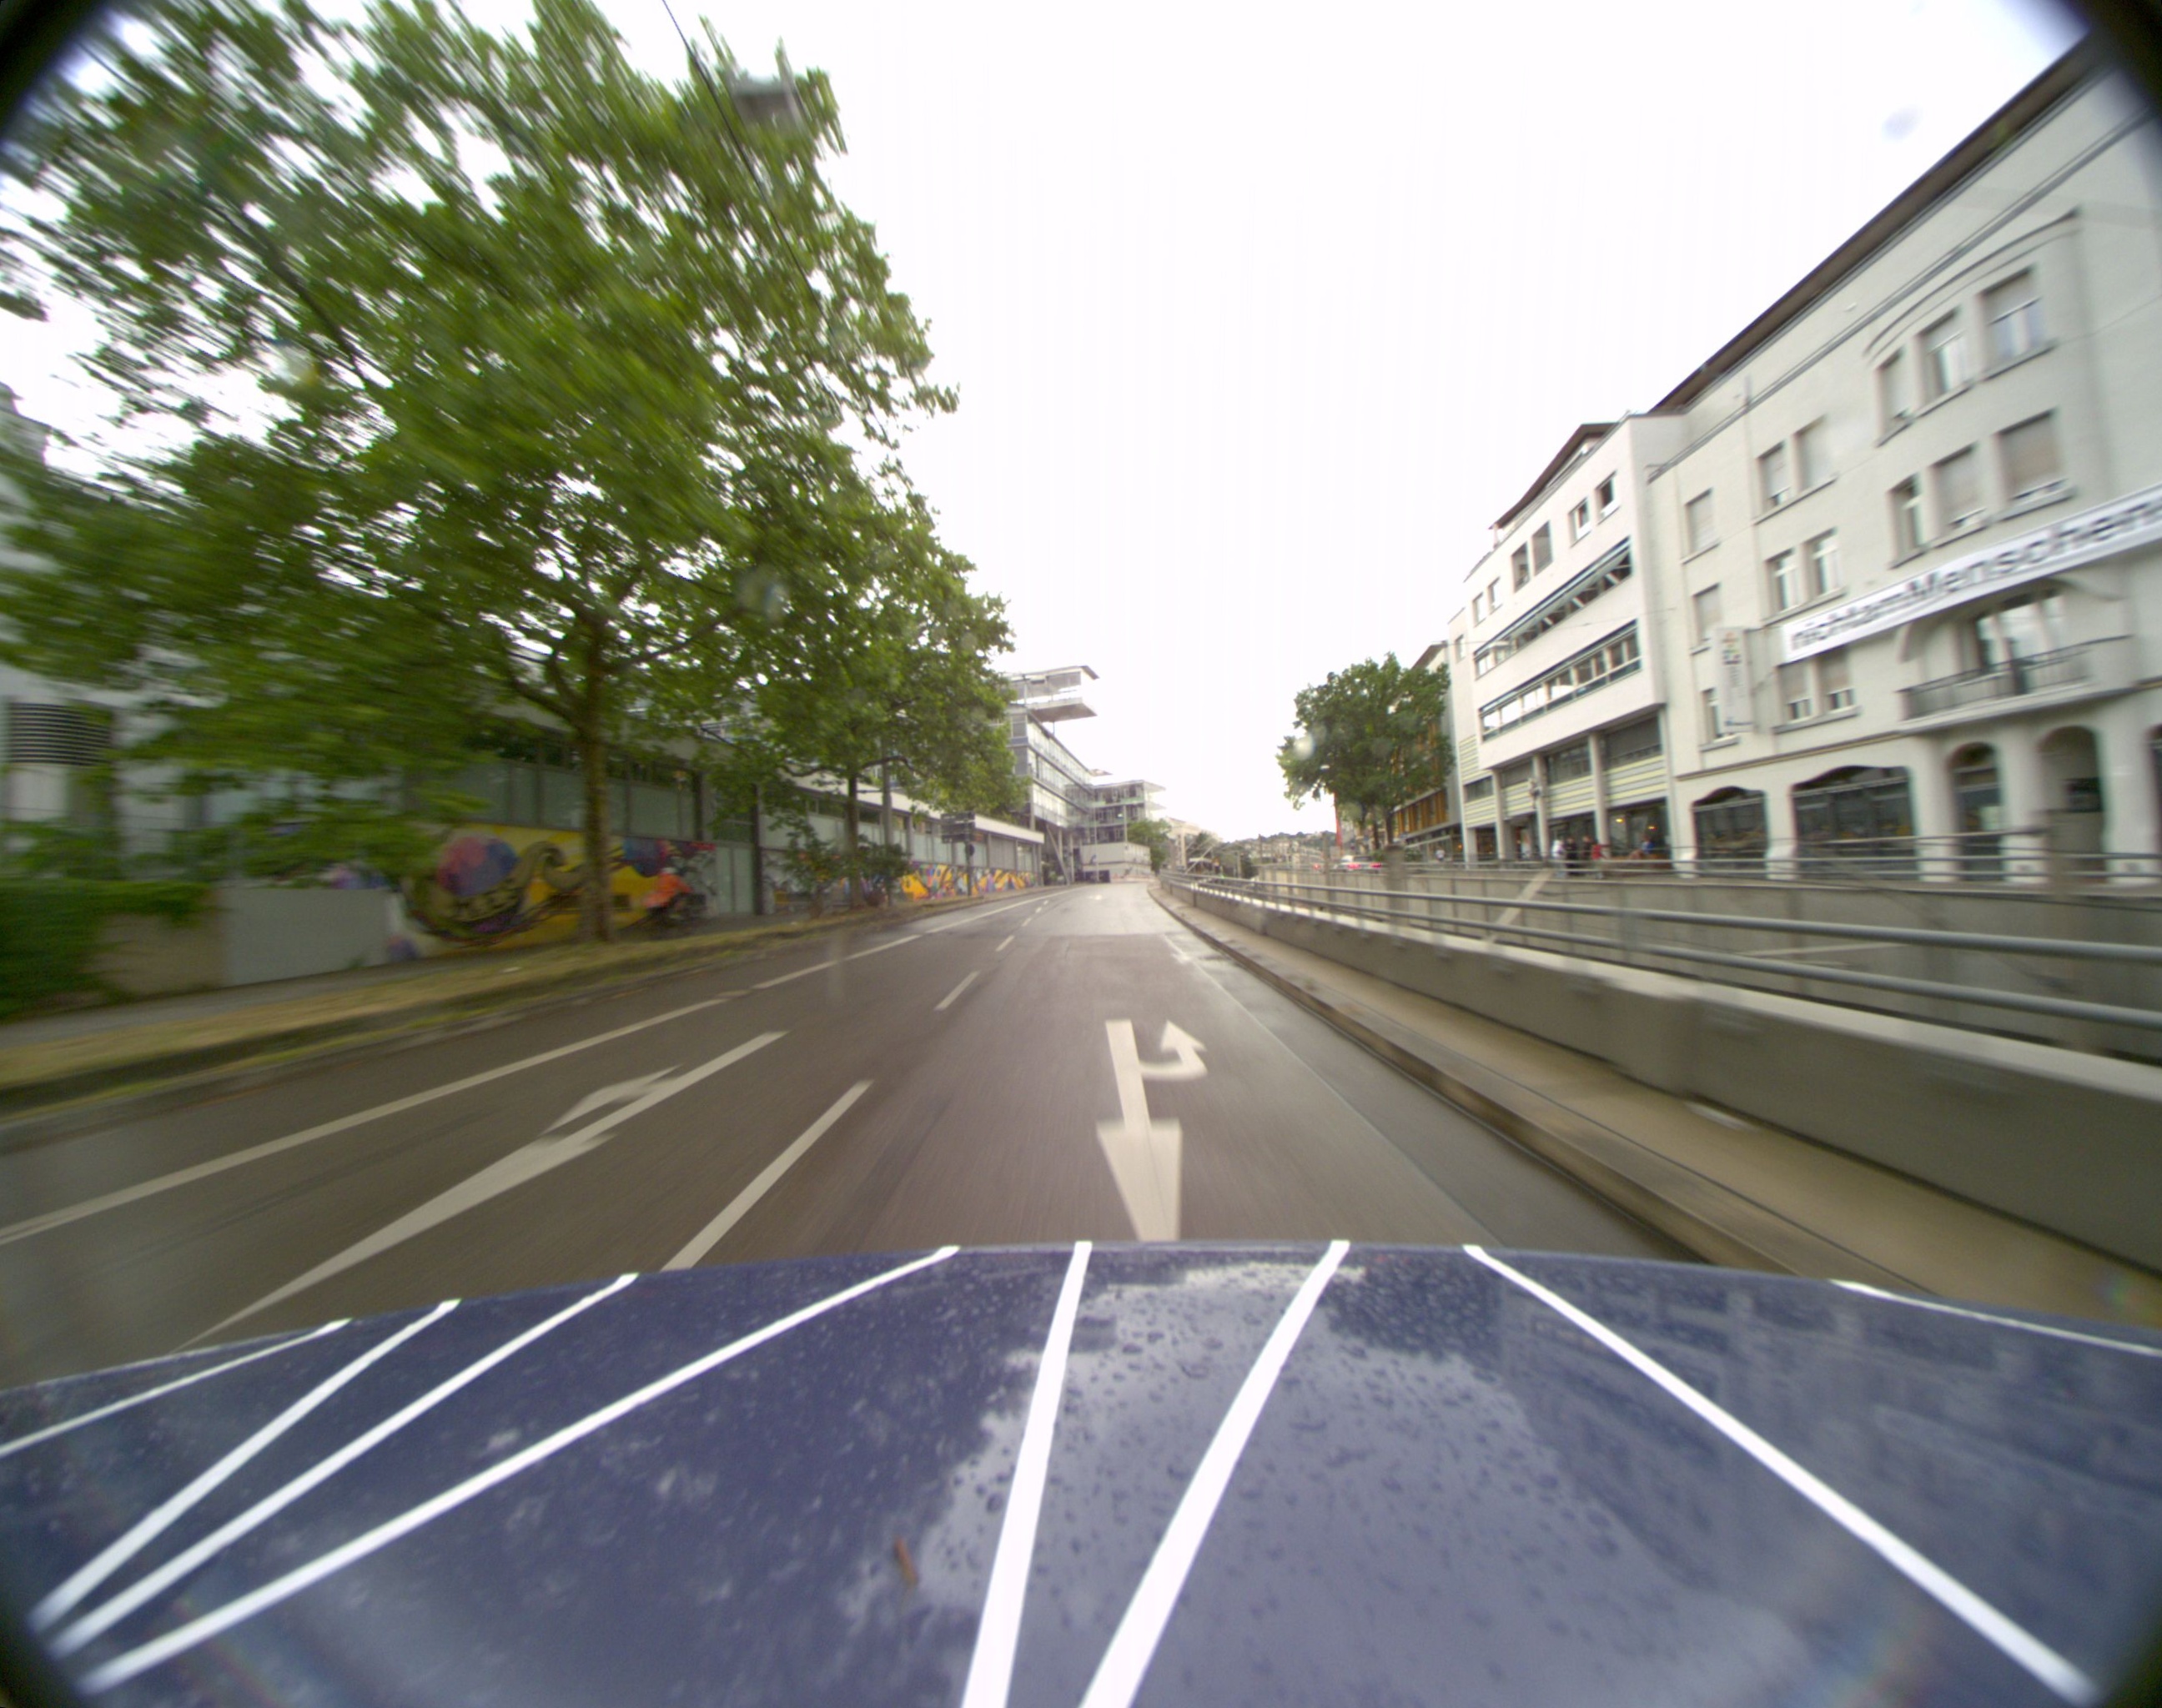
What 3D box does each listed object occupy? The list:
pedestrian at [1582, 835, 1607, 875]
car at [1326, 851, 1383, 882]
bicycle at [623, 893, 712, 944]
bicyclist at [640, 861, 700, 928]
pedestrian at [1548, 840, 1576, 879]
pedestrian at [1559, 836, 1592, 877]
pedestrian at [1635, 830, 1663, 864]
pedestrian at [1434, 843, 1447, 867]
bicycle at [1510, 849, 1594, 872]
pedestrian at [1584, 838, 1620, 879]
[{"bbox_3d":[22.165,0.038,32.803,0.675,1.711,0.608,-2,-1,-39],"label":"pedestrian"},{"bbox_3d":[16.474,0.764,46.013,1.841,1.702,4.579,-3,-1,2],"label":"car"},{"bbox_3d":[-10.513,1.615,19.447,0.808,1.105,2.199,-3,0,8],"label":"bicycle"},{"bbox_3d":[-10.537,1.020,19.517,0.808,1.618,1.047,-3,0,8],"label":"bicyclist"},{"bbox_3d":[21.043,0.229,33.236,0.675,1.633,0.793,-2,-1,-43],"label":"pedestrian"},{"bbox_3d":[22.113,0.135,33.968,0.674,1.774,0.941,-3,-1,-14],"label":"pedestrian"},{"bbox_3d":[24.197,-0.299,32.383,0.608,1.410,0.674,-3,-1,5],"label":"pedestrian"},{"bbox_3d":[28.692,0.086,60.672,0.666,1.838,0.831,-1,-1,10],"label":"pedestrian"},{"bbox_3d":[23.721,0.342,38.476,1.696,1.037,4.524,-3,-1,5],"label":"bicycle"},{"bbox_3d":[21.246,0.178,31.007,0.674,1.606,0.941,-3,-1,-14],"label":"pedestrian"}]
